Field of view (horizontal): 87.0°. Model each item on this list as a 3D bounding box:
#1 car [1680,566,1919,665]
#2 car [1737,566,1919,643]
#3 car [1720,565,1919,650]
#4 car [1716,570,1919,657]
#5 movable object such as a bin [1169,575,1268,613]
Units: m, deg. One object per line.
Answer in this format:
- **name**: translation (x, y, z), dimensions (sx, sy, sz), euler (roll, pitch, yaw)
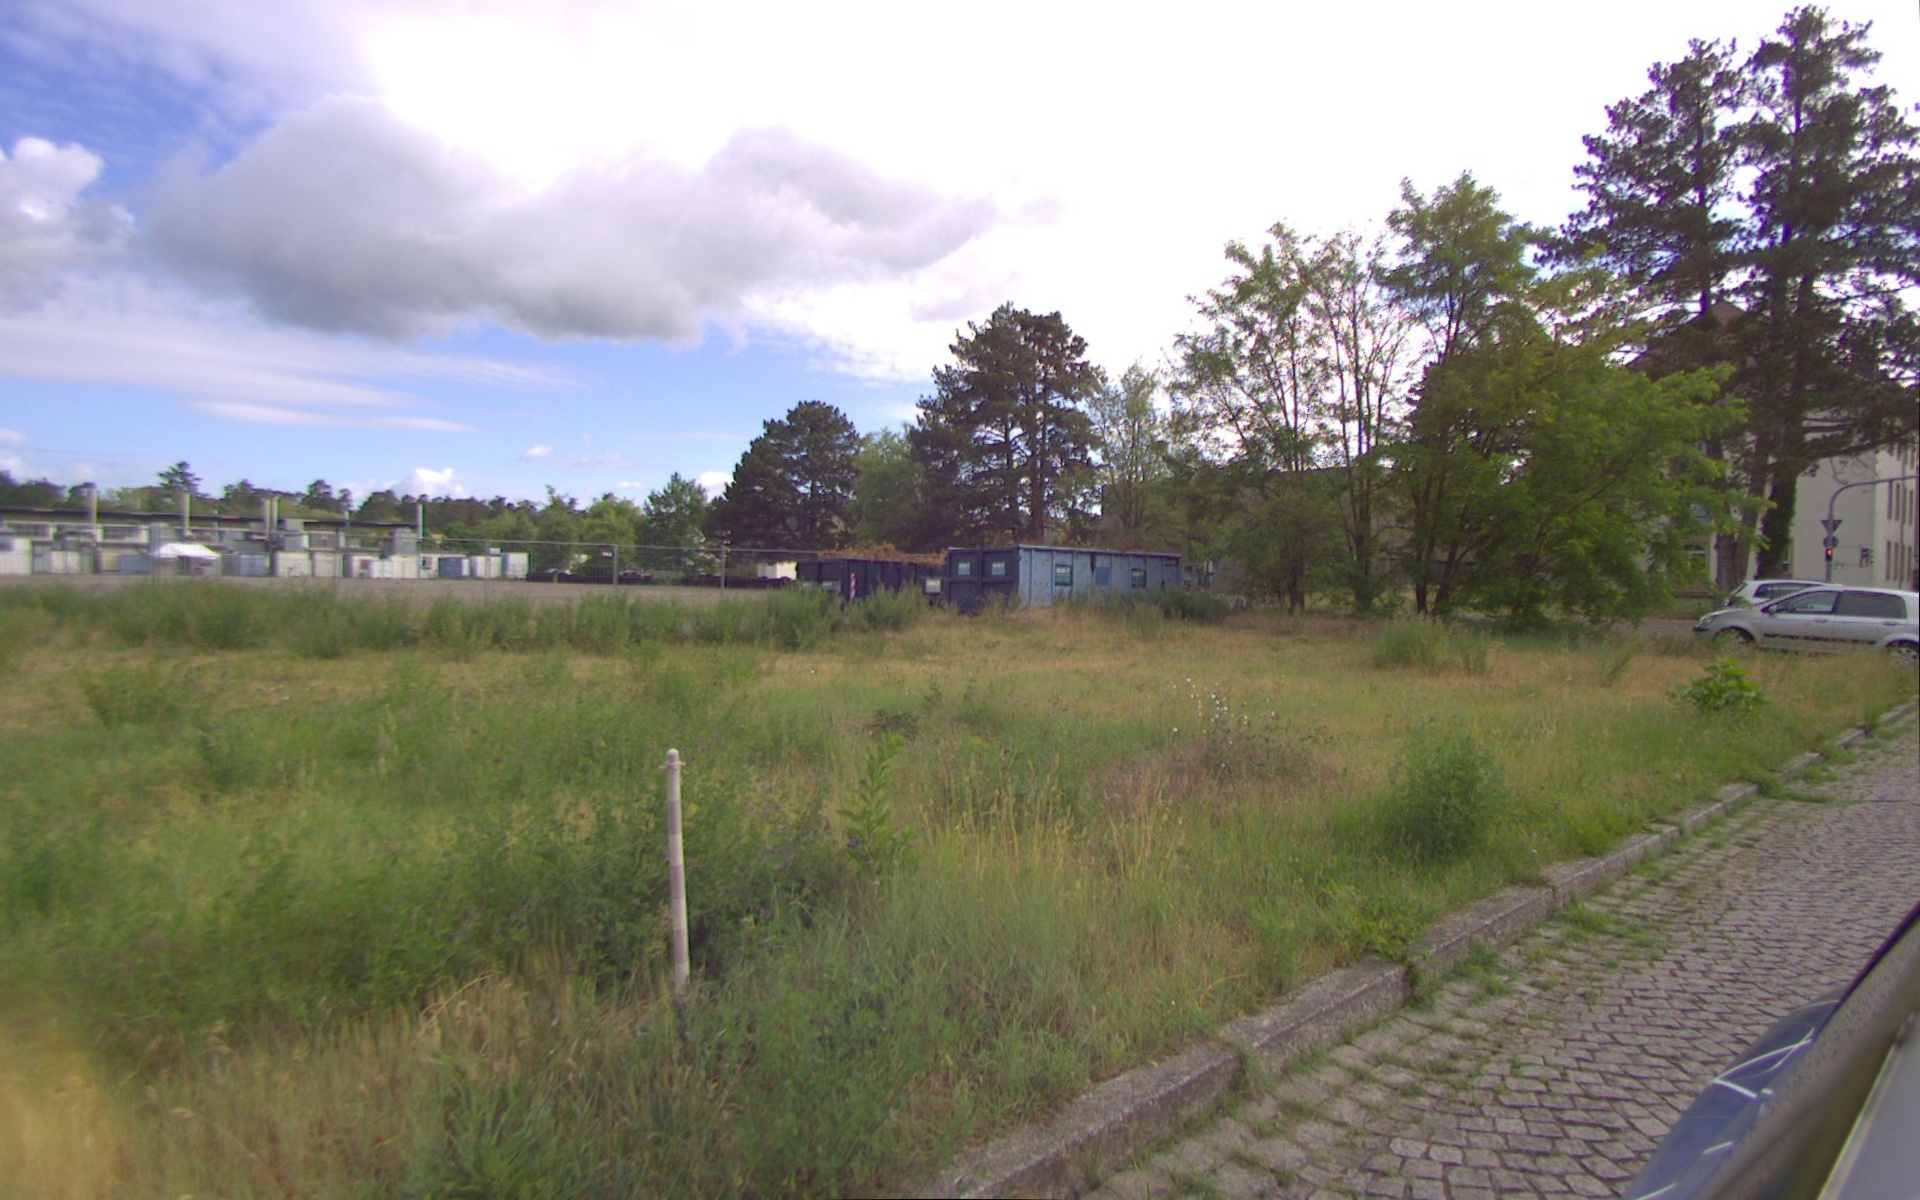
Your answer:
- **car**: translation (16.322, 0.242, 19.123), dimensions (1.773, 1.533, 4.081), euler (0, 5, -42)
- **car**: translation (21.945, 0.105, 24.620), dimensions (1.873, 1.584, 4.502), euler (0, 5, -42)
- **car**: translation (20.087, 0.130, 22.934), dimensions (1.854, 1.615, 4.246), euler (-1, 5, -43)
- **car**: translation (18.340, 0.250, 20.858), dimensions (1.853, 1.470, 4.081), euler (0, 5, -42)
- **movable object such as a bin**: translation (7.261, -0.185, 28.533), dimensions (0.839, 1.000, 2.685), euler (0, 2, -43)
